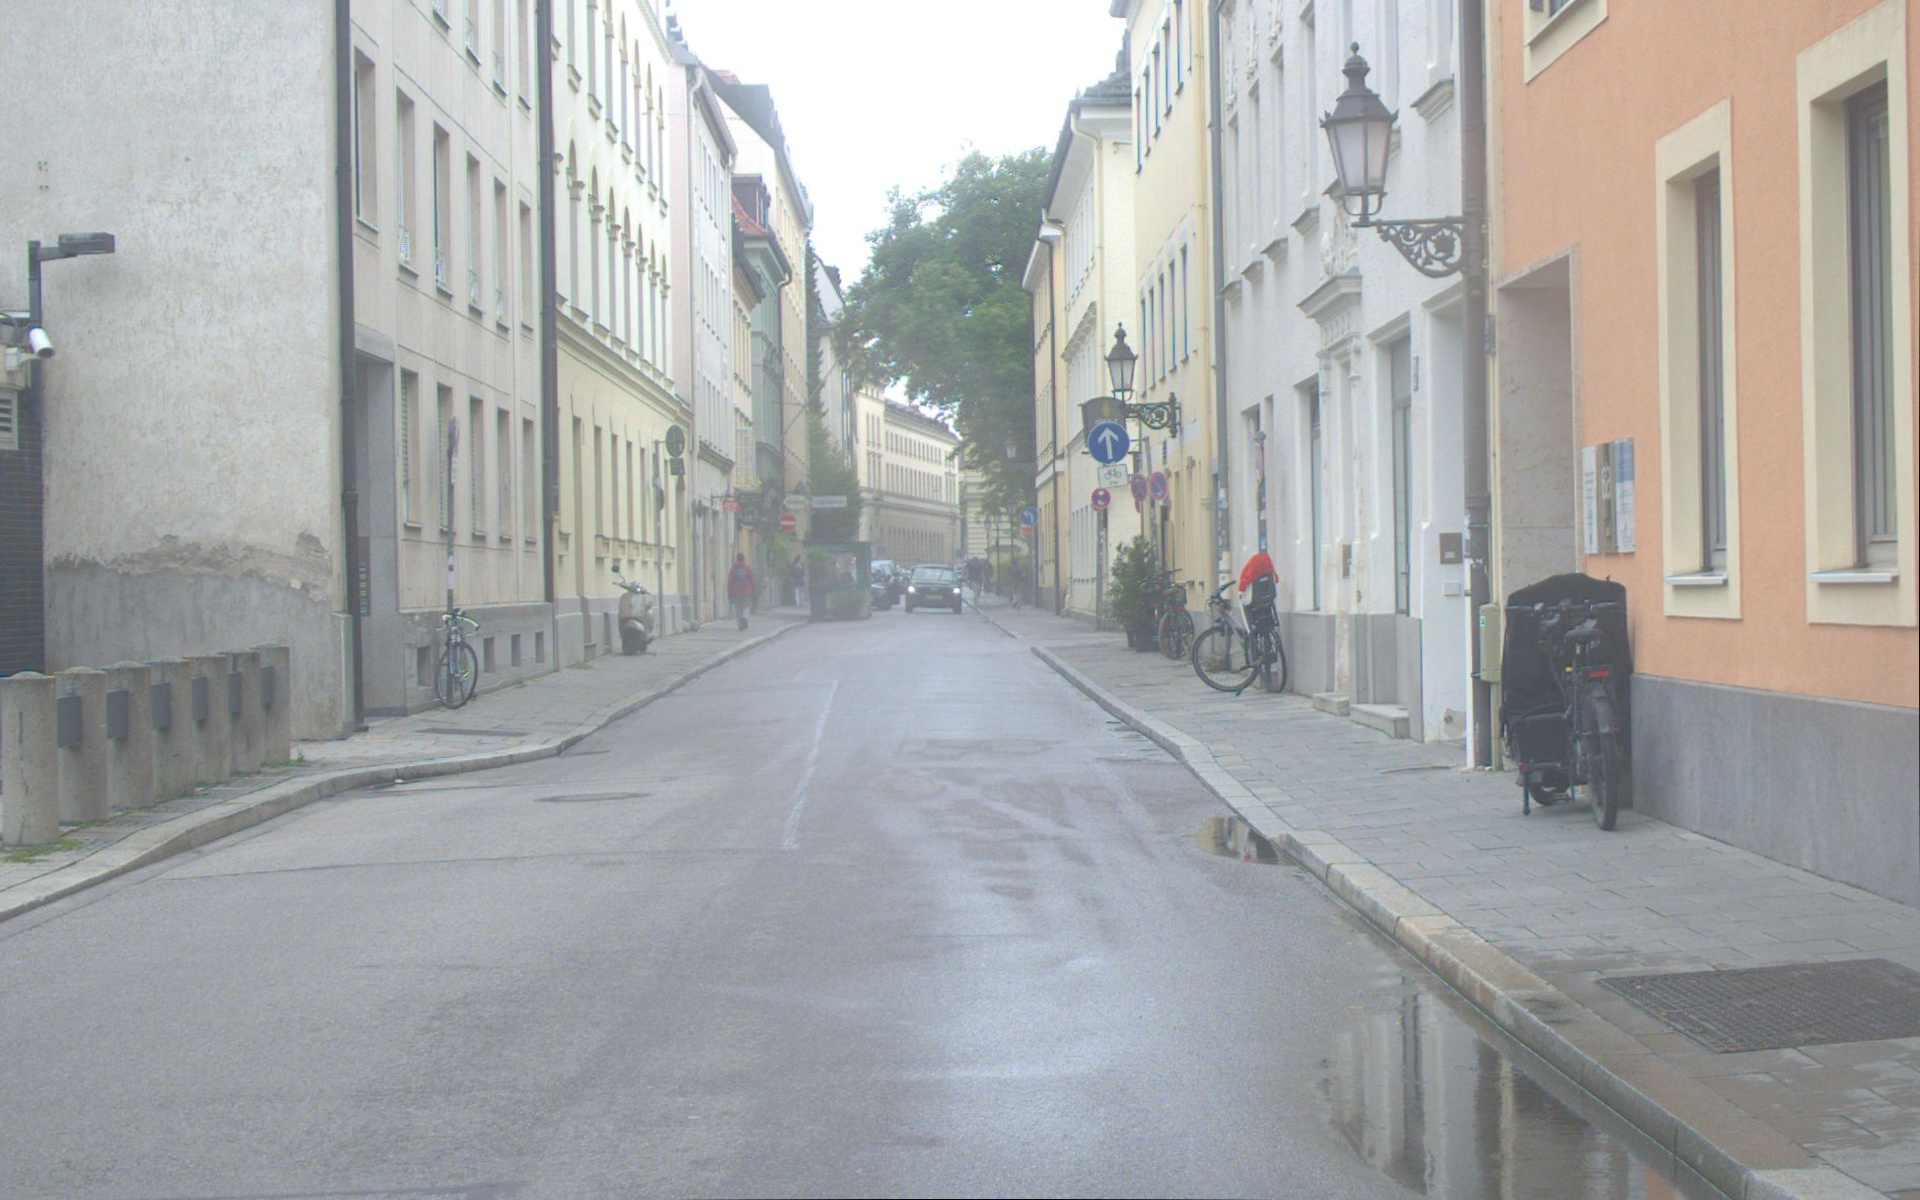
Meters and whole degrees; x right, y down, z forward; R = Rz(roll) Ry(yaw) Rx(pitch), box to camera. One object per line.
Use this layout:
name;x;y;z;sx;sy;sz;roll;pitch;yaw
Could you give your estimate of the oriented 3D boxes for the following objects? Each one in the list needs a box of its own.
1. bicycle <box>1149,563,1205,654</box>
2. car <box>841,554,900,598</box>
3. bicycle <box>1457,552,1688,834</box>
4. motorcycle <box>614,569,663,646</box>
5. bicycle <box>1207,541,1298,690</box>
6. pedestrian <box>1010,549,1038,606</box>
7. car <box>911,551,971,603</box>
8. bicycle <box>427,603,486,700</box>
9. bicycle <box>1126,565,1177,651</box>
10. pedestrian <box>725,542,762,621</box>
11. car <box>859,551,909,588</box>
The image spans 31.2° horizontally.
bicycle;2.853;0.100;45.337;0.565;1.133;1.988;-3;1;1
car;-3.015;-0.832;116.689;1.779;1.461;3.662;0;1;2
bicycle;3.042;0.422;17.306;0.679;1.236;2.382;-6;1;1
motorcycle;-4.987;0.104;53.409;0.602;1.170;1.708;0;1;0
bicycle;2.900;0.132;34.249;0.713;1.391;2.122;-4;1;2
pedestrian;2.031;-0.726;109.998;0.880;1.796;1.046;0;1;0
car;-0.627;-0.746;109.444;1.812;1.588;4.000;-1;1;-2
bicycle;-5.151;0.516;35.197;0.320;0.940;1.574;2;1;1
bicycle;2.646;0.098;47.557;0.565;1.133;1.684;-3;1;1
pedestrian;-4.791;-0.413;76.012;0.765;1.702;0.785;-1;1;-3
car;-3.022;-1.226;136.774;1.779;1.461;3.542;0;1;2
